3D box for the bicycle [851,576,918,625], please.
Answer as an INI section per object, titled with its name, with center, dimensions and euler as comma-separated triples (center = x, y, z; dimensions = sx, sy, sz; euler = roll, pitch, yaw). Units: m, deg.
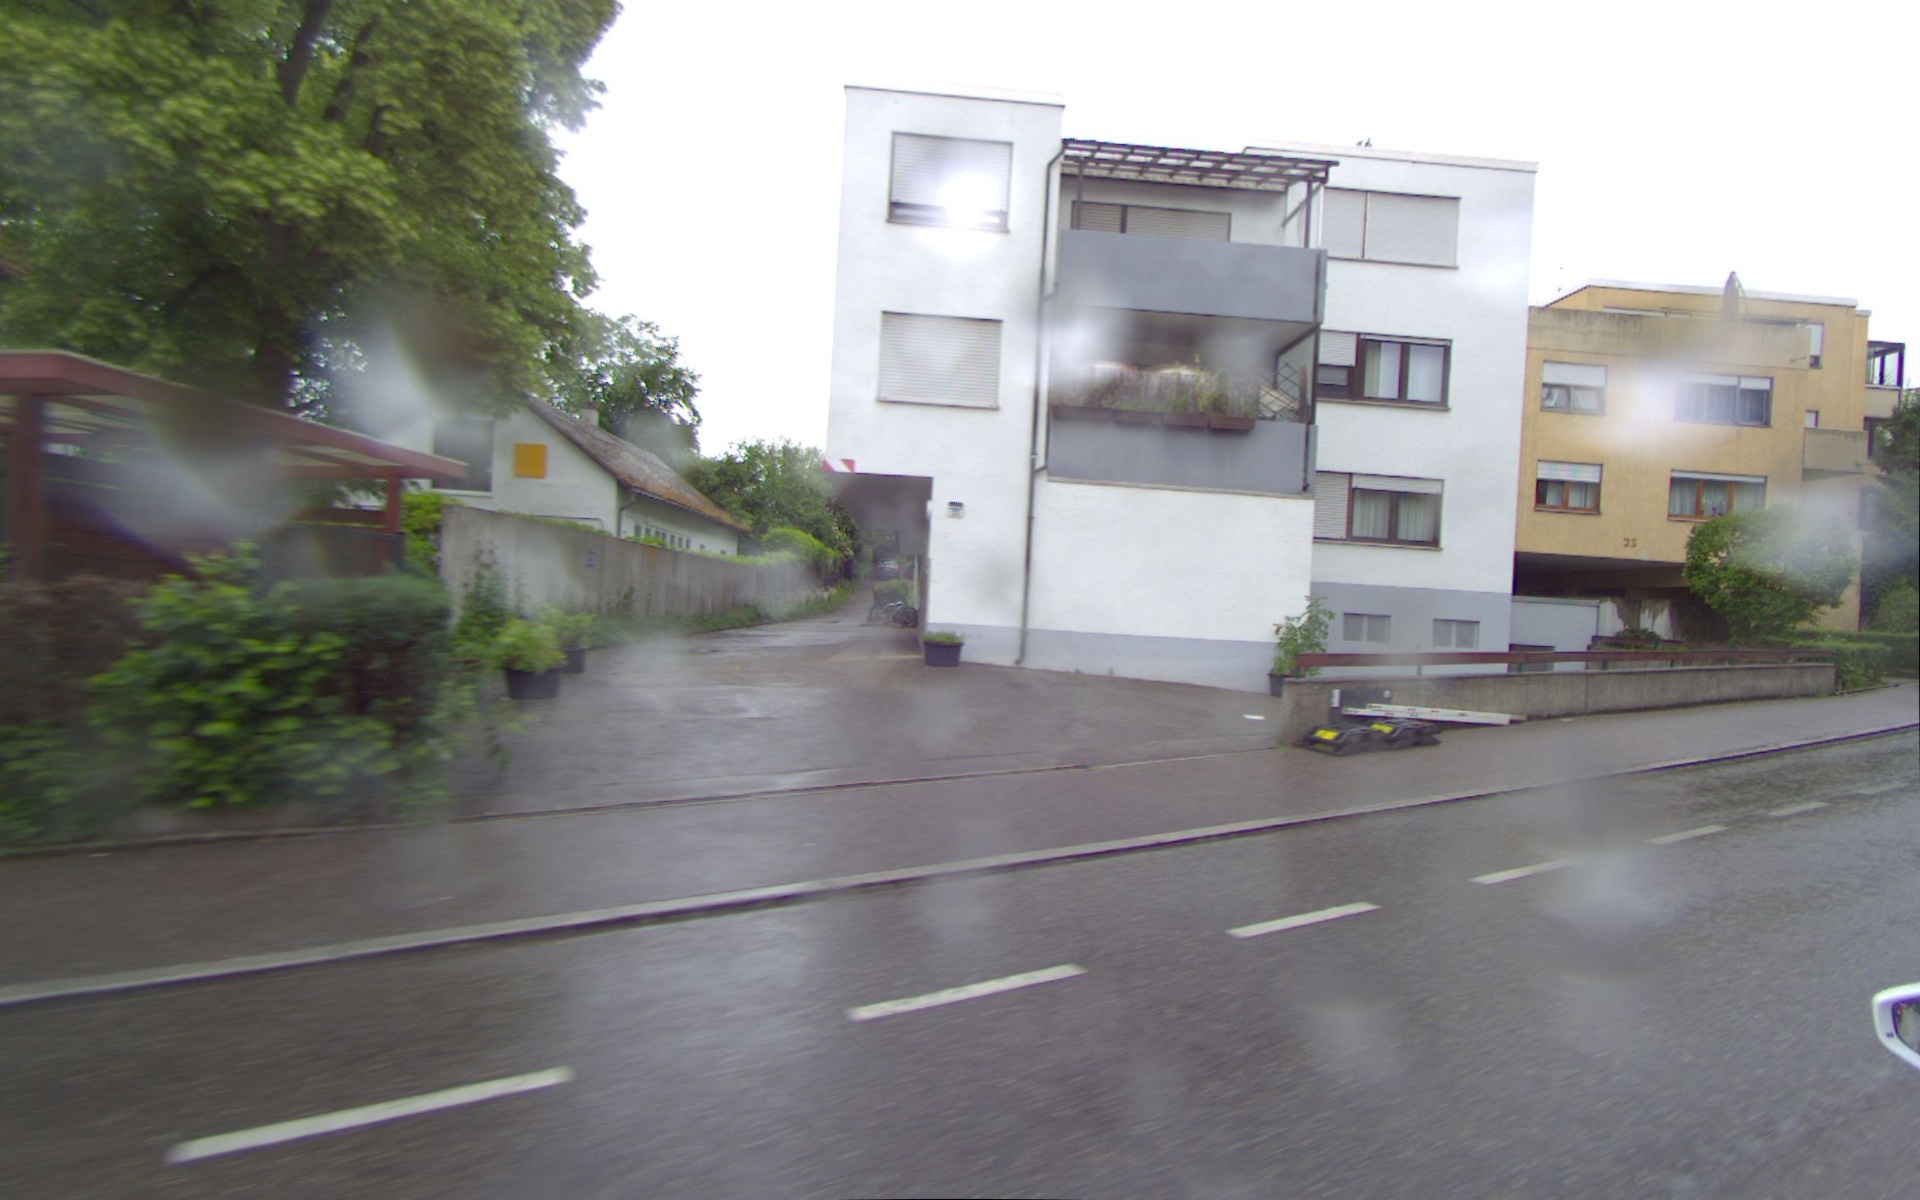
[bicycle]
center = -2.652, 0.010, 35.333
dimensions = 2.268, 1.657, 0.701
euler = 1, 1, 1
